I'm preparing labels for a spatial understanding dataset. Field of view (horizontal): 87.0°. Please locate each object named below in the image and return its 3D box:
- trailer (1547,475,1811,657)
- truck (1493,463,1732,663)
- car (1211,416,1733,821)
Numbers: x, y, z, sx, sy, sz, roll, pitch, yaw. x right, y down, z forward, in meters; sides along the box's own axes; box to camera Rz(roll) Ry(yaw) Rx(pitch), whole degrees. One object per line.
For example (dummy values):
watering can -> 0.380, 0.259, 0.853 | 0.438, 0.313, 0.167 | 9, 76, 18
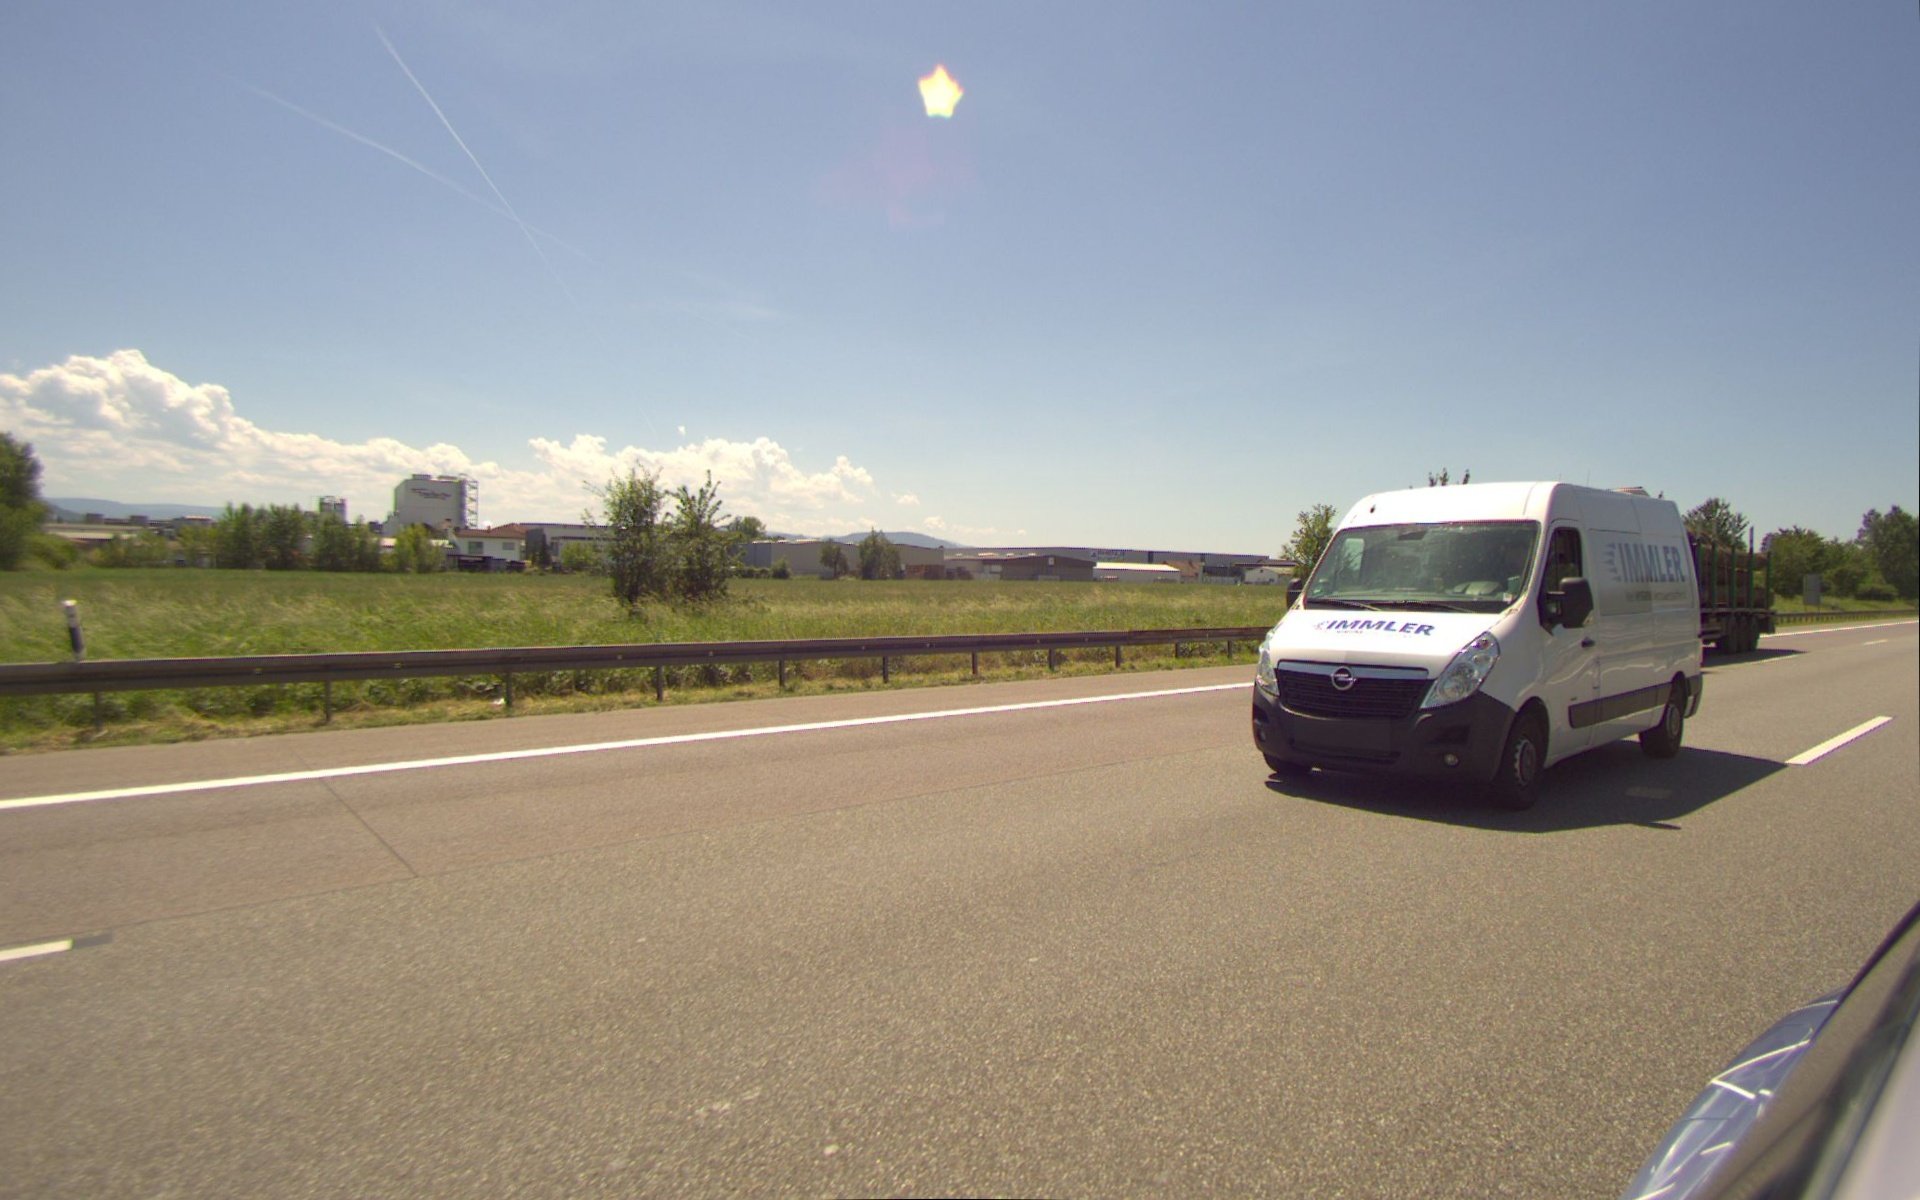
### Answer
trailer -> 20.253, -0.786, 27.892 | 13.715, 4.016, 2.698 | 0, 0, -41
truck -> 15.543, -0.766, 23.852 | 7.567, 4.016, 2.698 | 0, 0, -40
car -> 4.881, 0.085, 9.086 | 5.842, 2.540, 2.157 | -1, 0, -41
